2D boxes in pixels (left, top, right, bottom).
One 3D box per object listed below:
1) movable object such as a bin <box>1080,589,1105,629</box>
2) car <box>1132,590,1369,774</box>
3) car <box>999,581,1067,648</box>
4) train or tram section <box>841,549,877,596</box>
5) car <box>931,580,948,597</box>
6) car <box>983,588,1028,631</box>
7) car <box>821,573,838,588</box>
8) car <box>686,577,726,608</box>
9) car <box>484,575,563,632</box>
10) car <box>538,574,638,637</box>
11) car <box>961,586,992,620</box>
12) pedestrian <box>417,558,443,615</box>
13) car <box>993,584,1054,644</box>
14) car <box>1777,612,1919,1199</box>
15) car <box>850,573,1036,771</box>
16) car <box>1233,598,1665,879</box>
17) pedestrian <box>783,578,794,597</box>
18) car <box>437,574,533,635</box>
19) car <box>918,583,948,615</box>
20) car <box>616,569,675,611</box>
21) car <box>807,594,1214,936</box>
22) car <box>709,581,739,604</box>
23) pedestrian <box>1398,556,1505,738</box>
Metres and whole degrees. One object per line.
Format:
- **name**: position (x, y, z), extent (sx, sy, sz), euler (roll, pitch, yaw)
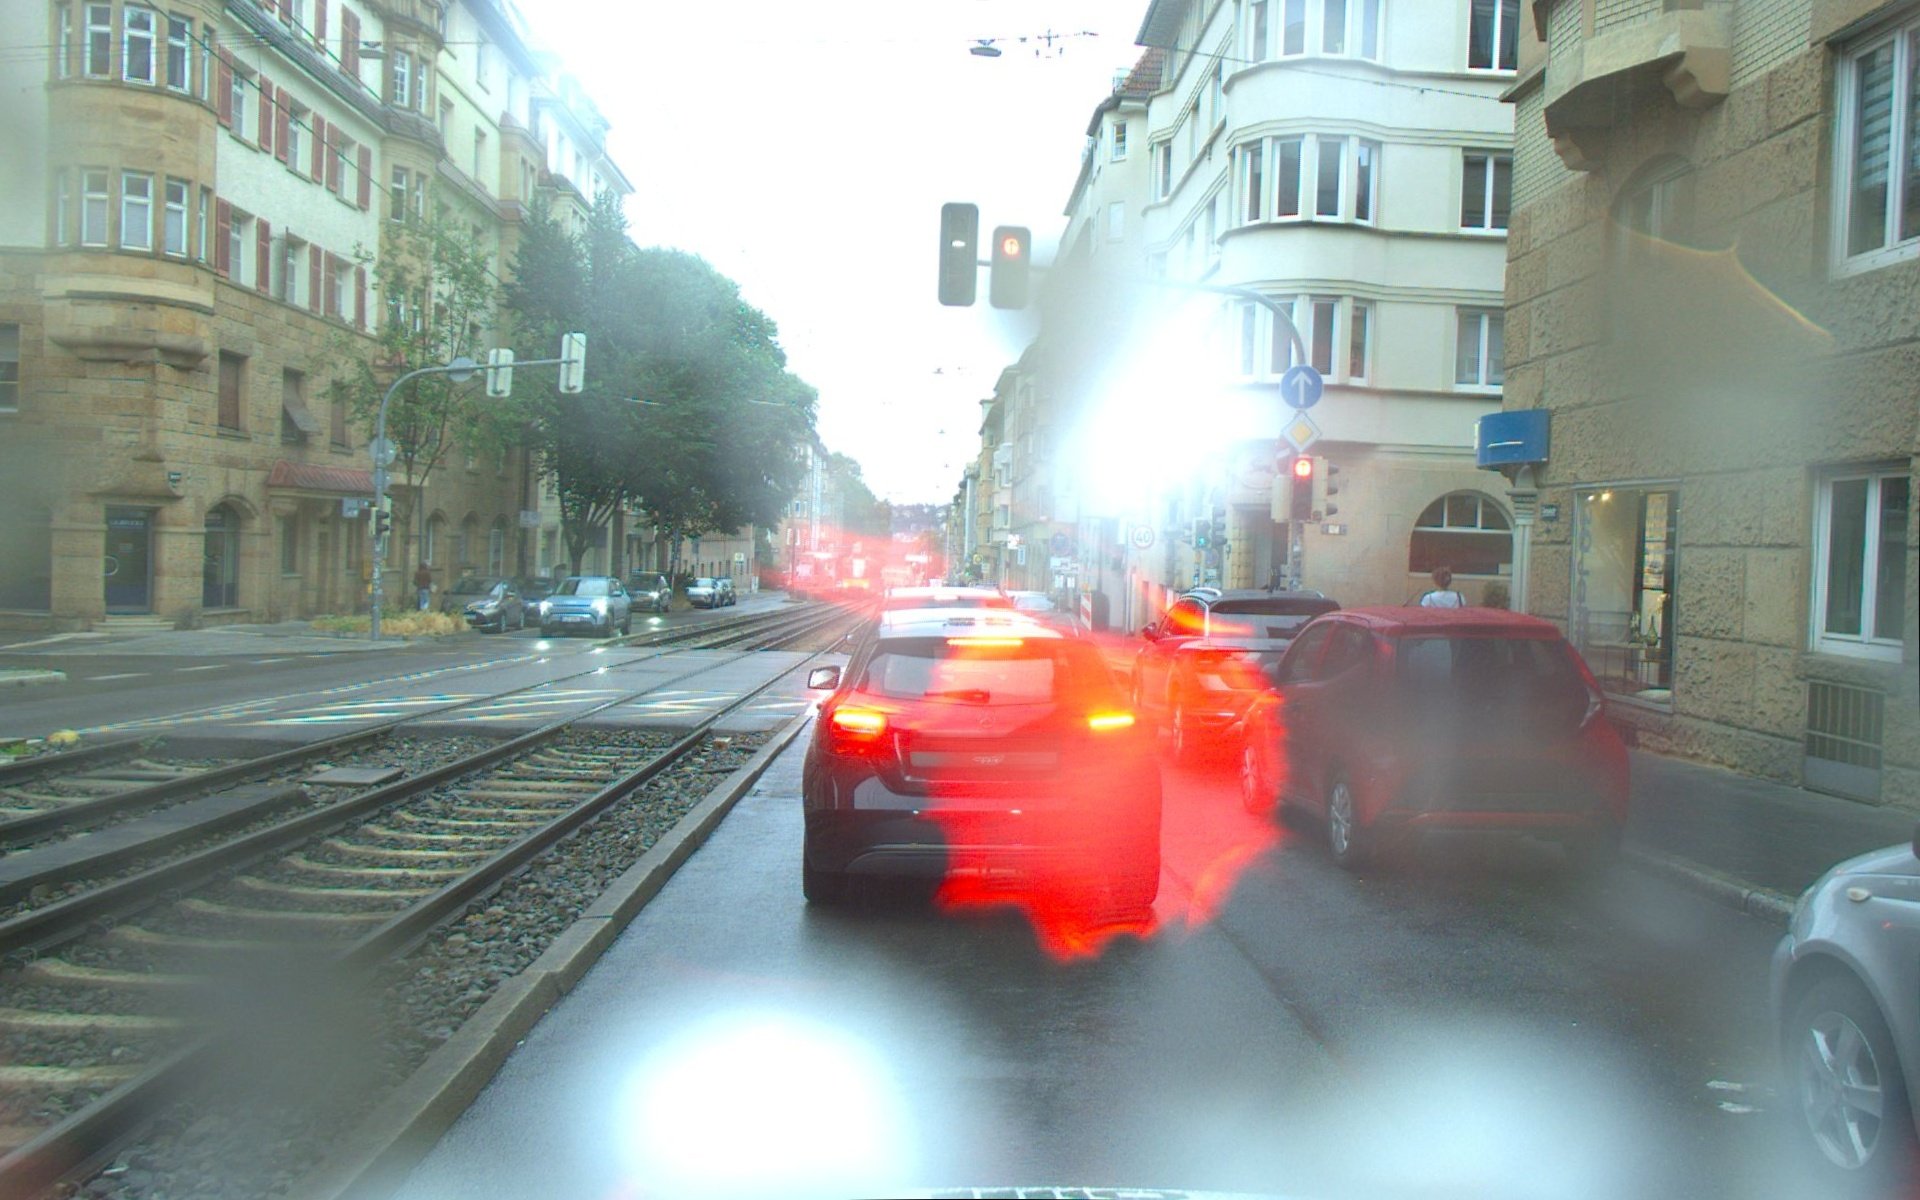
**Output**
- **movable object such as a bin**: position (4.769, 0.309, 59.629), extent (0.859, 1.413, 0.983), euler (1, -1, 3)
- **car**: position (2.636, 0.678, 15.781), extent (1.513, 1.512, 3.829), euler (1, 0, -1)
- **car**: position (1.844, 0.354, 42.651), extent (1.513, 1.618, 3.547), euler (1, 0, -1)
- **train or tram section**: position (-9.063, -2.430, 149.595), extent (2.726, 3.928, 10.427), euler (1, 0, -1)
- **car**: position (-2.500, -1.404, 199.607), extent (1.953, 1.909, 3.999), euler (1, 0, -1)
- **car**: position (1.669, 0.332, 61.534), extent (1.513, 1.512, 3.547), euler (1, 0, -1)
- **car**: position (-11.988, -1.767, 152.022), extent (1.349, 1.271, 3.296), euler (1, 0, -2)
- **car**: position (-13.651, -0.375, 88.952), extent (1.557, 1.608, 3.917), euler (1, 0, -1)
- **car**: position (-13.271, 0.112, 50.508), extent (1.683, 1.639, 3.914), euler (1, 0, -5)
- **car**: position (-10.042, 0.147, 44.912), extent (1.860, 1.615, 3.972), euler (1, 0, -1)
- **car**: position (0.729, 0.139, 73.592), extent (1.268, 1.467, 2.928), euler (1, 0, -1)
- **pedestrian**: position (-15.780, -0.397, 49.273), extent (0.619, 1.702, 0.701), euler (1, -1, -10)
- **car**: position (1.774, 0.381, 47.125), extent (1.513, 1.618, 3.547), euler (1, 0, -1)
- **car**: position (3.128, 0.787, 3.086), extent (1.581, 1.493, 3.312), euler (0, 0, 0)
- **car**: position (-0.171, 0.618, 15.820), extent (1.533, 1.637, 3.813), euler (1, 0, -1)
- **car**: position (2.911, 0.749, 10.546), extent (1.609, 1.473, 3.297), euler (1, 0, -3)
- **pedestrian**: position (-18.708, -1.360, 180.684), extent (1.031, 1.992, 1.043), euler (2, 0, 0)
- **car**: position (-13.007, 0.130, 45.481), extent (1.718, 1.579, 4.032), euler (1, 0, -4)
- **car**: position (-1.447, -0.042, 88.933), extent (1.513, 1.664, 3.685), euler (1, 0, -1)
- **car**: position (-13.556, -0.406, 71.490), extent (1.837, 1.767, 3.917), euler (1, 0, -1)
- **car**: position (0.196, 0.732, 9.437), extent (1.792, 1.483, 4.103), euler (1, 0, -1)
- **car**: position (-14.019, -0.430, 98.356), extent (1.419, 1.354, 3.270), euler (1, 0, -3)
- **pedestrian**: position (4.997, 0.465, 16.872), extent (0.726, 1.778, 1.111), euler (1, -1, -1)
